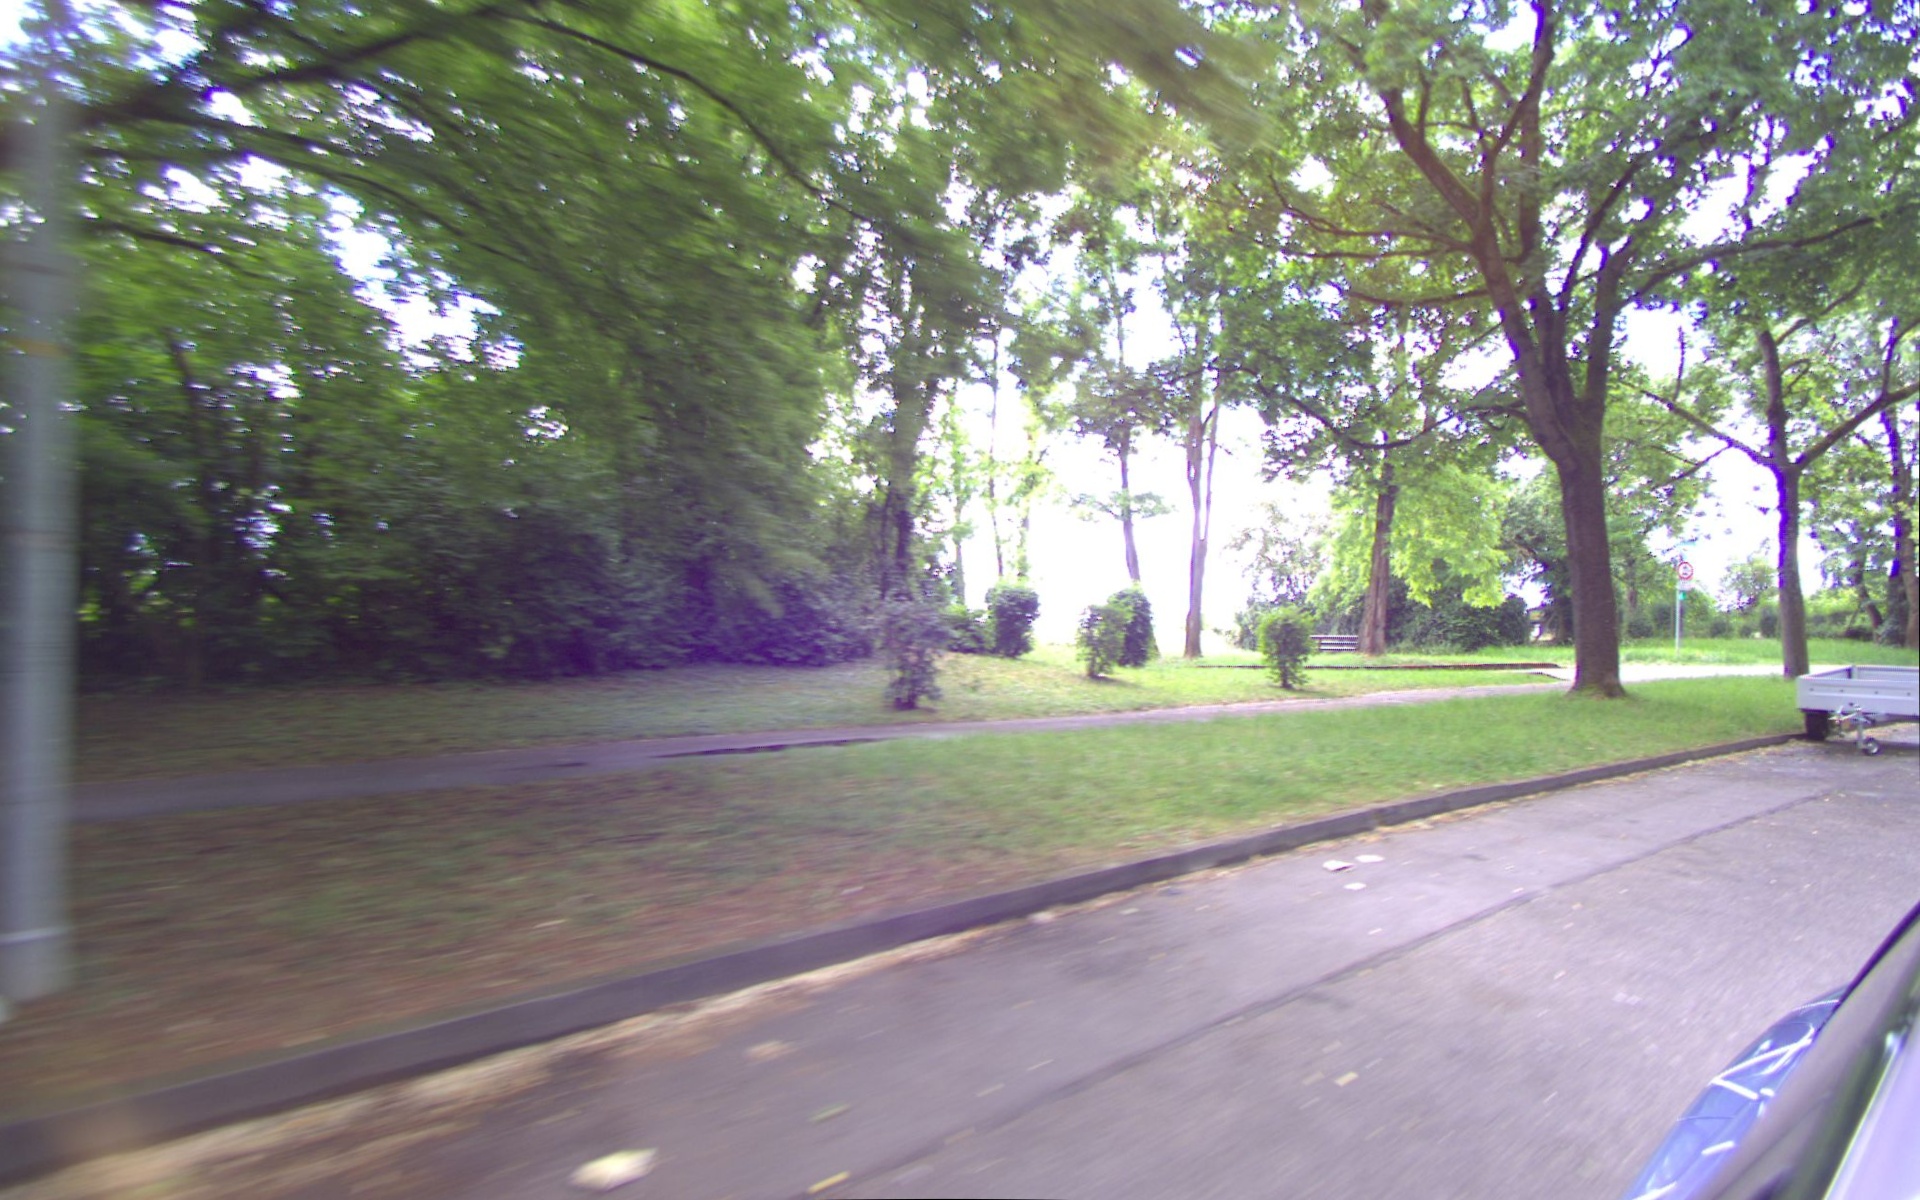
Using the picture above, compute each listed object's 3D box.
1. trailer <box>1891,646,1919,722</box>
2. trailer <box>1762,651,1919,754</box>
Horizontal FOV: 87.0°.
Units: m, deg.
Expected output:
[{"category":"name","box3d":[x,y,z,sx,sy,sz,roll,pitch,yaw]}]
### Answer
[{"category":"trailer","box3d":[14.451,1.133,13.818,3.813,0.981,1.363,1,-2,-28]},{"category":"trailer","box3d":[10.459,1.080,11.328,3.215,0.858,1.368,-1,-1,-33]}]
